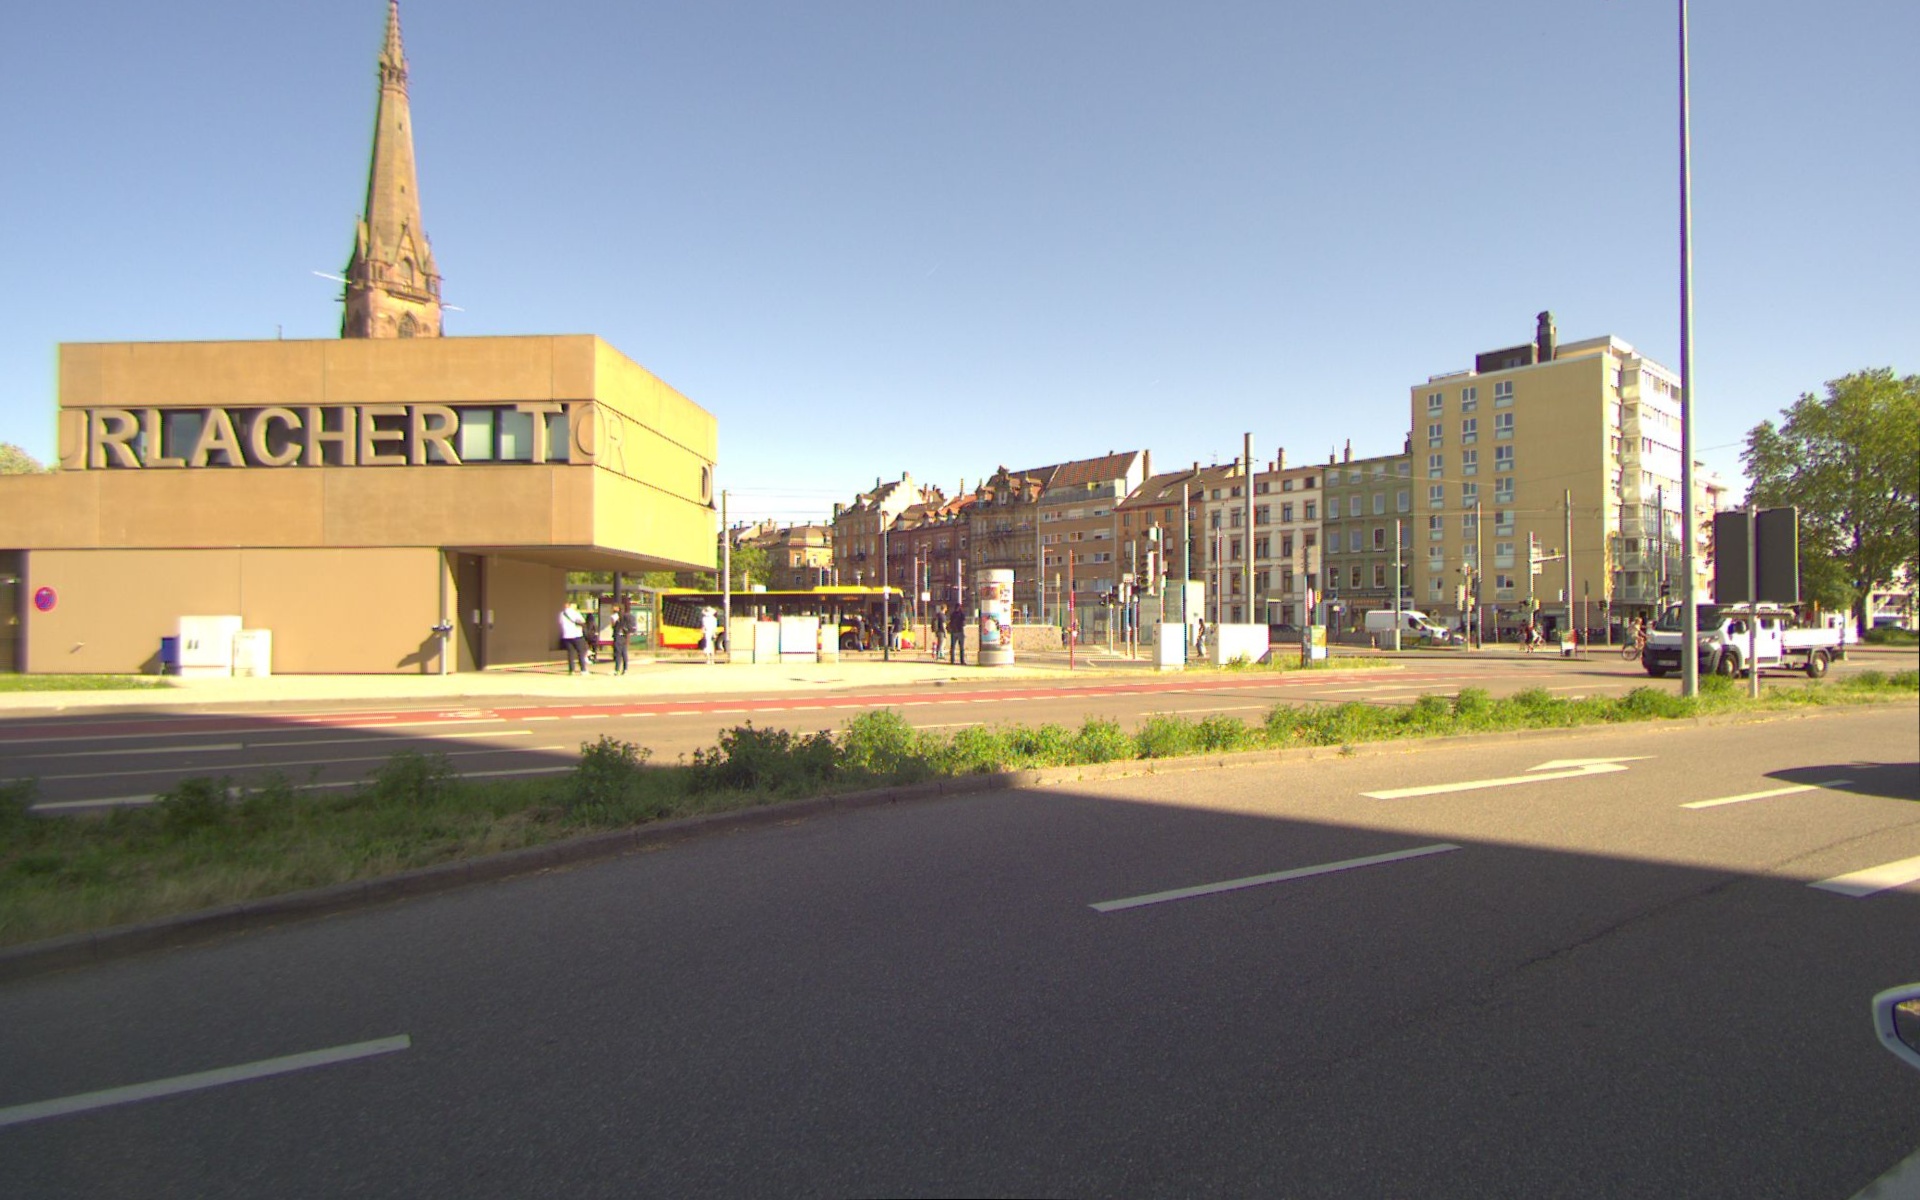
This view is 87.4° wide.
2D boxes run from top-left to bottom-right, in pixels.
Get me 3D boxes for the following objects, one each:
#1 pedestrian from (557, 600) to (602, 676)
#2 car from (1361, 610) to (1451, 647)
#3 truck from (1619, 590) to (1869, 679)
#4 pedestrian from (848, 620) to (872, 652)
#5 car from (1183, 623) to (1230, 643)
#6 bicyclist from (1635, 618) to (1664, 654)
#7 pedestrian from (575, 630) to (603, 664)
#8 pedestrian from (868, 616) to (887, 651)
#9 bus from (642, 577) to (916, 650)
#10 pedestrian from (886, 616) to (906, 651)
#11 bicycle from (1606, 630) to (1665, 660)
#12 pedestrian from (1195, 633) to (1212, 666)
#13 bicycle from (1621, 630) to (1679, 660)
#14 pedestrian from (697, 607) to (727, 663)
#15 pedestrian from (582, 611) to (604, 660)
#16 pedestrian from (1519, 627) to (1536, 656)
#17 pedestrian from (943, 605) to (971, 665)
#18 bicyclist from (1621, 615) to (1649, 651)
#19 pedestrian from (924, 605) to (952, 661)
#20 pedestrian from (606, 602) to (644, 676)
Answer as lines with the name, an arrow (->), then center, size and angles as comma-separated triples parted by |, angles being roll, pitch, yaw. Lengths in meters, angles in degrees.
pedestrian -> -8.998, 0.890, 23.768 | 0.584, 1.746, 0.791 | 2, -1, 16
car -> 30.778, 1.933, 69.452 | 1.984, 2.443, 5.440 | 1, -1, -40
truck -> 22.270, 0.977, 28.539 | 6.774, 2.344, 2.213 | 1, -1, -18
pedestrian -> -4.346, 1.563, 43.728 | 0.785, 1.412, 0.639 | 0, -1, 29
car -> 23.460, 3.155, 95.812 | 1.983, 1.795, 3.955 | -2, 0, -39
bicyclist -> 28.526, 1.474, 41.550 | 0.635, 1.463, 0.771 | 1, -1, -26
pedestrian -> -10.949, 1.394, 29.681 | 0.563, 0.979, 0.509 | 2, -1, 10
pedestrian -> -3.725, 1.492, 45.306 | 0.627, 1.556, 0.800 | 0, -1, 16
bus -> -8.400, 0.663, 47.326 | 12.335, 3.258, 2.975 | 0, -1, 4
pedestrian -> -2.832, 1.474, 44.509 | 0.627, 1.556, 0.964 | 0, -1, 14
bicycle -> 27.634, 1.826, 41.113 | 0.634, 1.180, 1.945 | 1, -1, -25
pedestrian -> 6.790, 1.377, 27.985 | 0.351, 0.909, 0.298 | 1, -1, -34
bicycle -> 28.521, 1.832, 41.554 | 0.634, 1.180, 1.945 | 1, -1, -25
pedestrian -> -7.829, 1.103, 31.700 | 0.634, 1.746, 0.791 | 2, -1, 4
pedestrian -> -11.814, 1.134, 32.344 | 0.503, 1.529, 0.743 | 3, -2, -29
pedestrian -> 29.394, 2.135, 51.995 | 0.564, 1.427, 0.588 | -2, 1, -40
pedestrian -> -0.085, 1.060, 30.660 | 0.634, 1.765, 0.790 | 2, 1, 16
bicyclist -> 27.636, 1.333, 41.130 | 0.634, 1.463, 0.772 | 1, -1, -25
pedestrian -> -0.705, 1.065, 32.491 | 0.634, 1.746, 0.791 | 2, -1, 16
pedestrian -> -8.100, 0.936, 24.269 | 0.738, 1.746, 0.640 | 3, -1, -23
